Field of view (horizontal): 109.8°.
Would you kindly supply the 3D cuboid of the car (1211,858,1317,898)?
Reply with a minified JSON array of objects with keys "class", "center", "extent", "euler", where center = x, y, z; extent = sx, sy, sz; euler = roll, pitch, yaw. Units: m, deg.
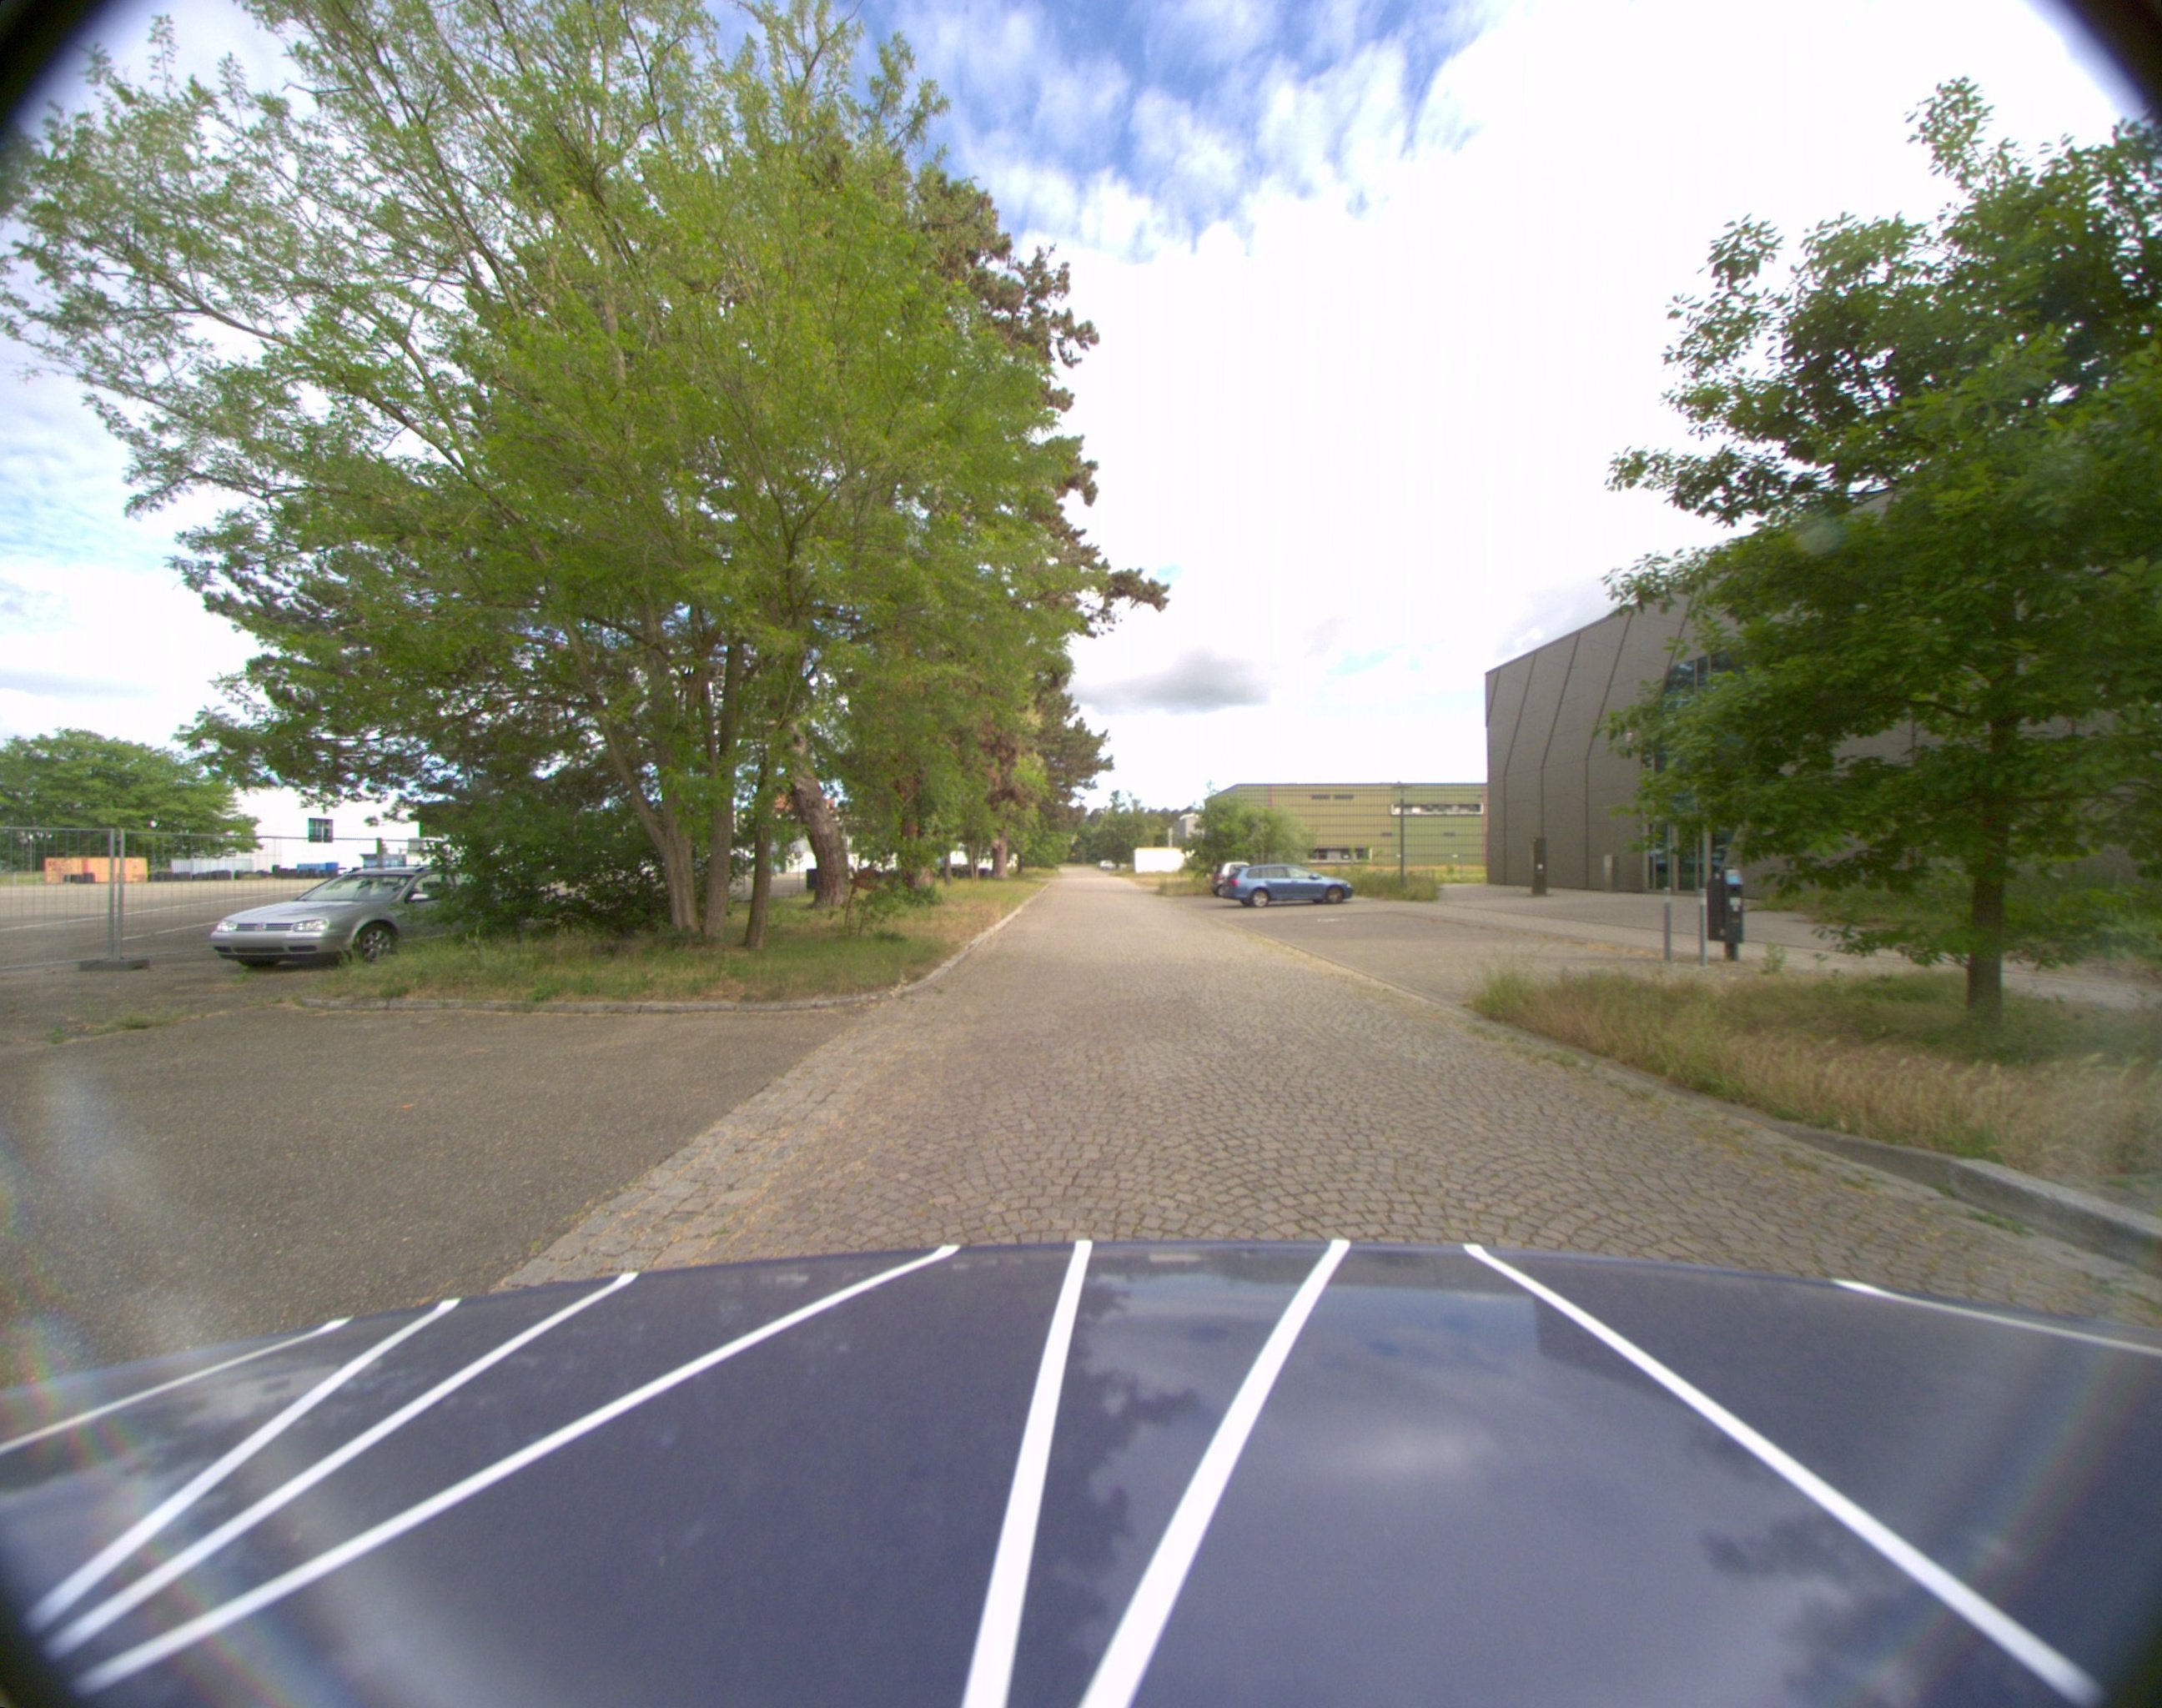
[{"class":"car","center":[8.173,1.061,34.292],"extent":[4.401,1.537,1.842],"euler":[-3,0,6]}]

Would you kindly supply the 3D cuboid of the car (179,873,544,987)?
[{"class":"car","center":[-11.127,1.068,12.301],"extent":[1.759,1.440,4.327],"euler":[0,0,1]}]

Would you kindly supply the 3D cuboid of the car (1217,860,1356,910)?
[{"class":"car","center":[7.225,1.072,26.942],"extent":[4.404,1.501,1.716],"euler":[-3,0,-3]}]
